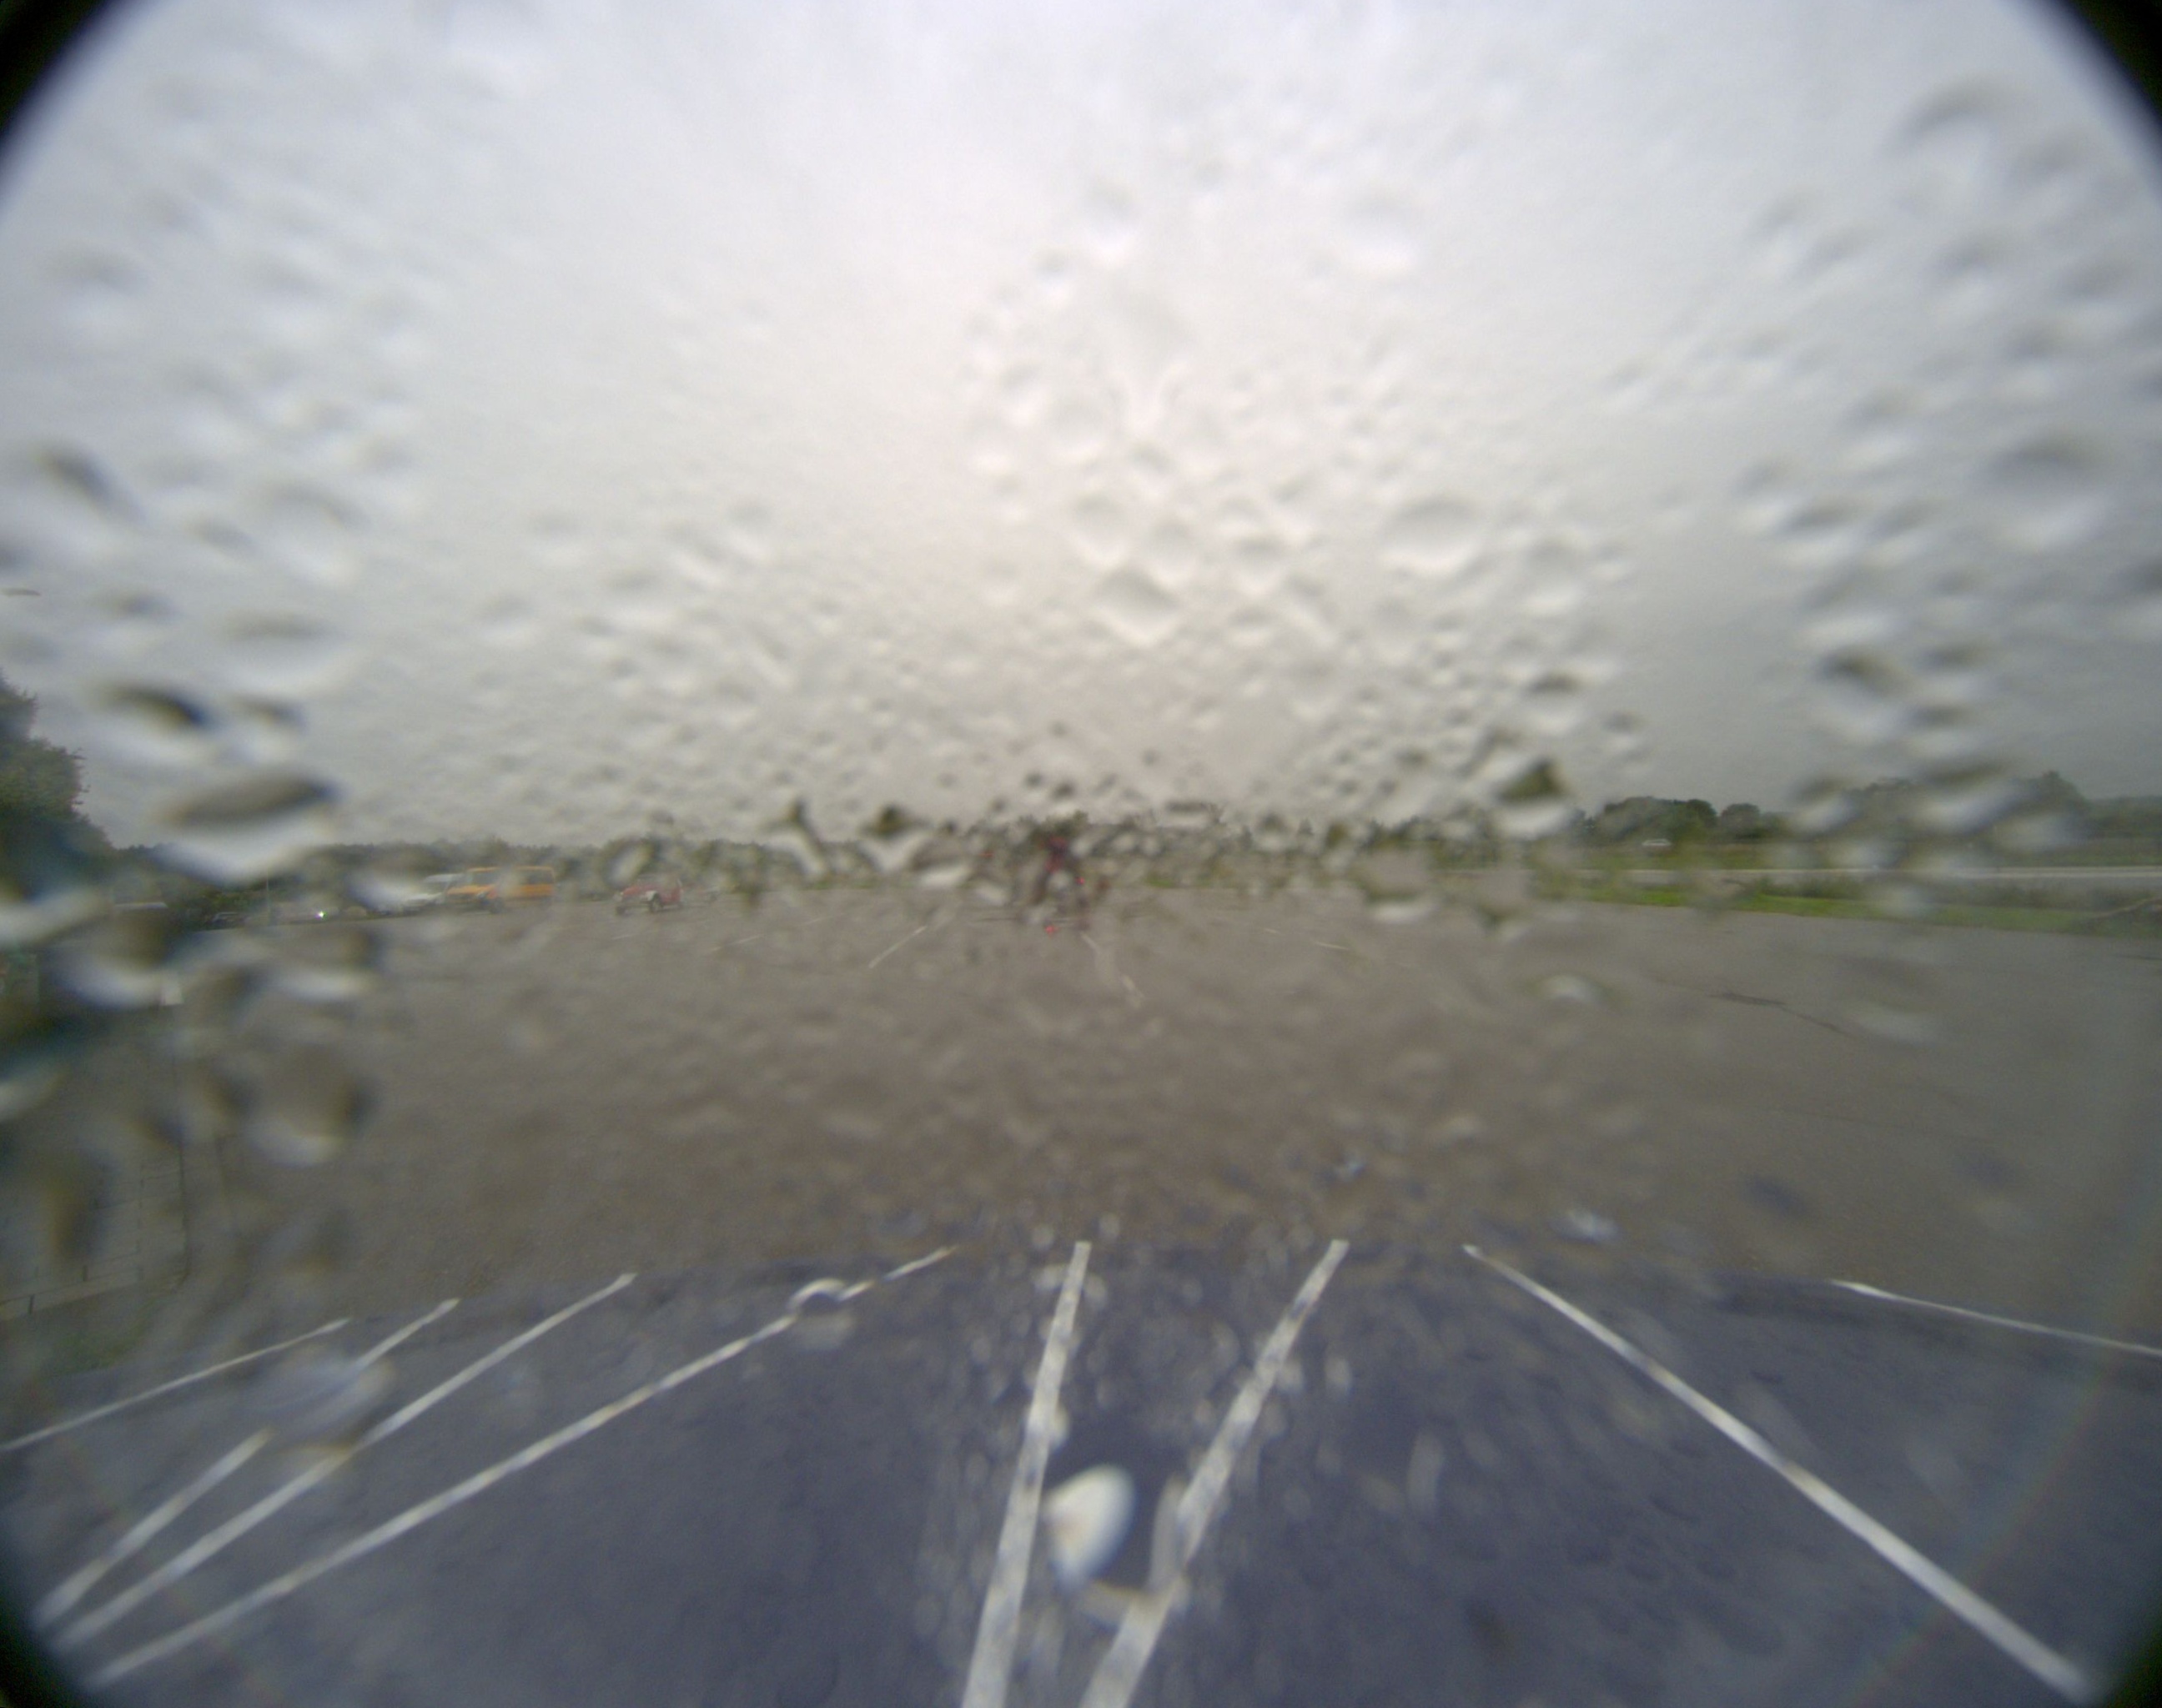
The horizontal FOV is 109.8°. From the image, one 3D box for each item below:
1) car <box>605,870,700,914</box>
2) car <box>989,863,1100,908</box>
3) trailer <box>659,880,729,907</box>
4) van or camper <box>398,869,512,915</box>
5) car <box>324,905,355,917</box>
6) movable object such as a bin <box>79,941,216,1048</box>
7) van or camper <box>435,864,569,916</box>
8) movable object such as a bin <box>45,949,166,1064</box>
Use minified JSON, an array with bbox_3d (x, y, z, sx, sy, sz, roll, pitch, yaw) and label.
[{"bbox_3d":[-16.960,1.461,30.295,1.549,1.546,4.056,-2,0,-2],"label":"car"},{"bbox_3d":[-1.371,1.086,27.163,1.783,1.425,4.067,-2,0,-41],"label":"car"},{"bbox_3d":[-17.206,1.734,33.920,1.588,1.061,3.030,-2,-1,-2],"label":"trailer"},{"bbox_3d":[-40.243,2.352,49.182,1.999,2.699,7.065,0,0,-5],"label":"van or camper"},{"bbox_3d":[-72.428,5.544,74.202,3.560,0.994,1.503,-2,0,35],"label":"car"},{"bbox_3d":[-9.219,1.368,7.528,0.631,0.915,0.556,-2,0,-18],"label":"movable object such as a bin"},{"bbox_3d":[-28.553,1.687,37.855,2.134,2.233,6.415,-2,0,-5],"label":"van or camper"},{"bbox_3d":[-8.733,1.346,6.819,0.495,0.915,0.415,-2,0,-18],"label":"movable object such as a bin"}]
